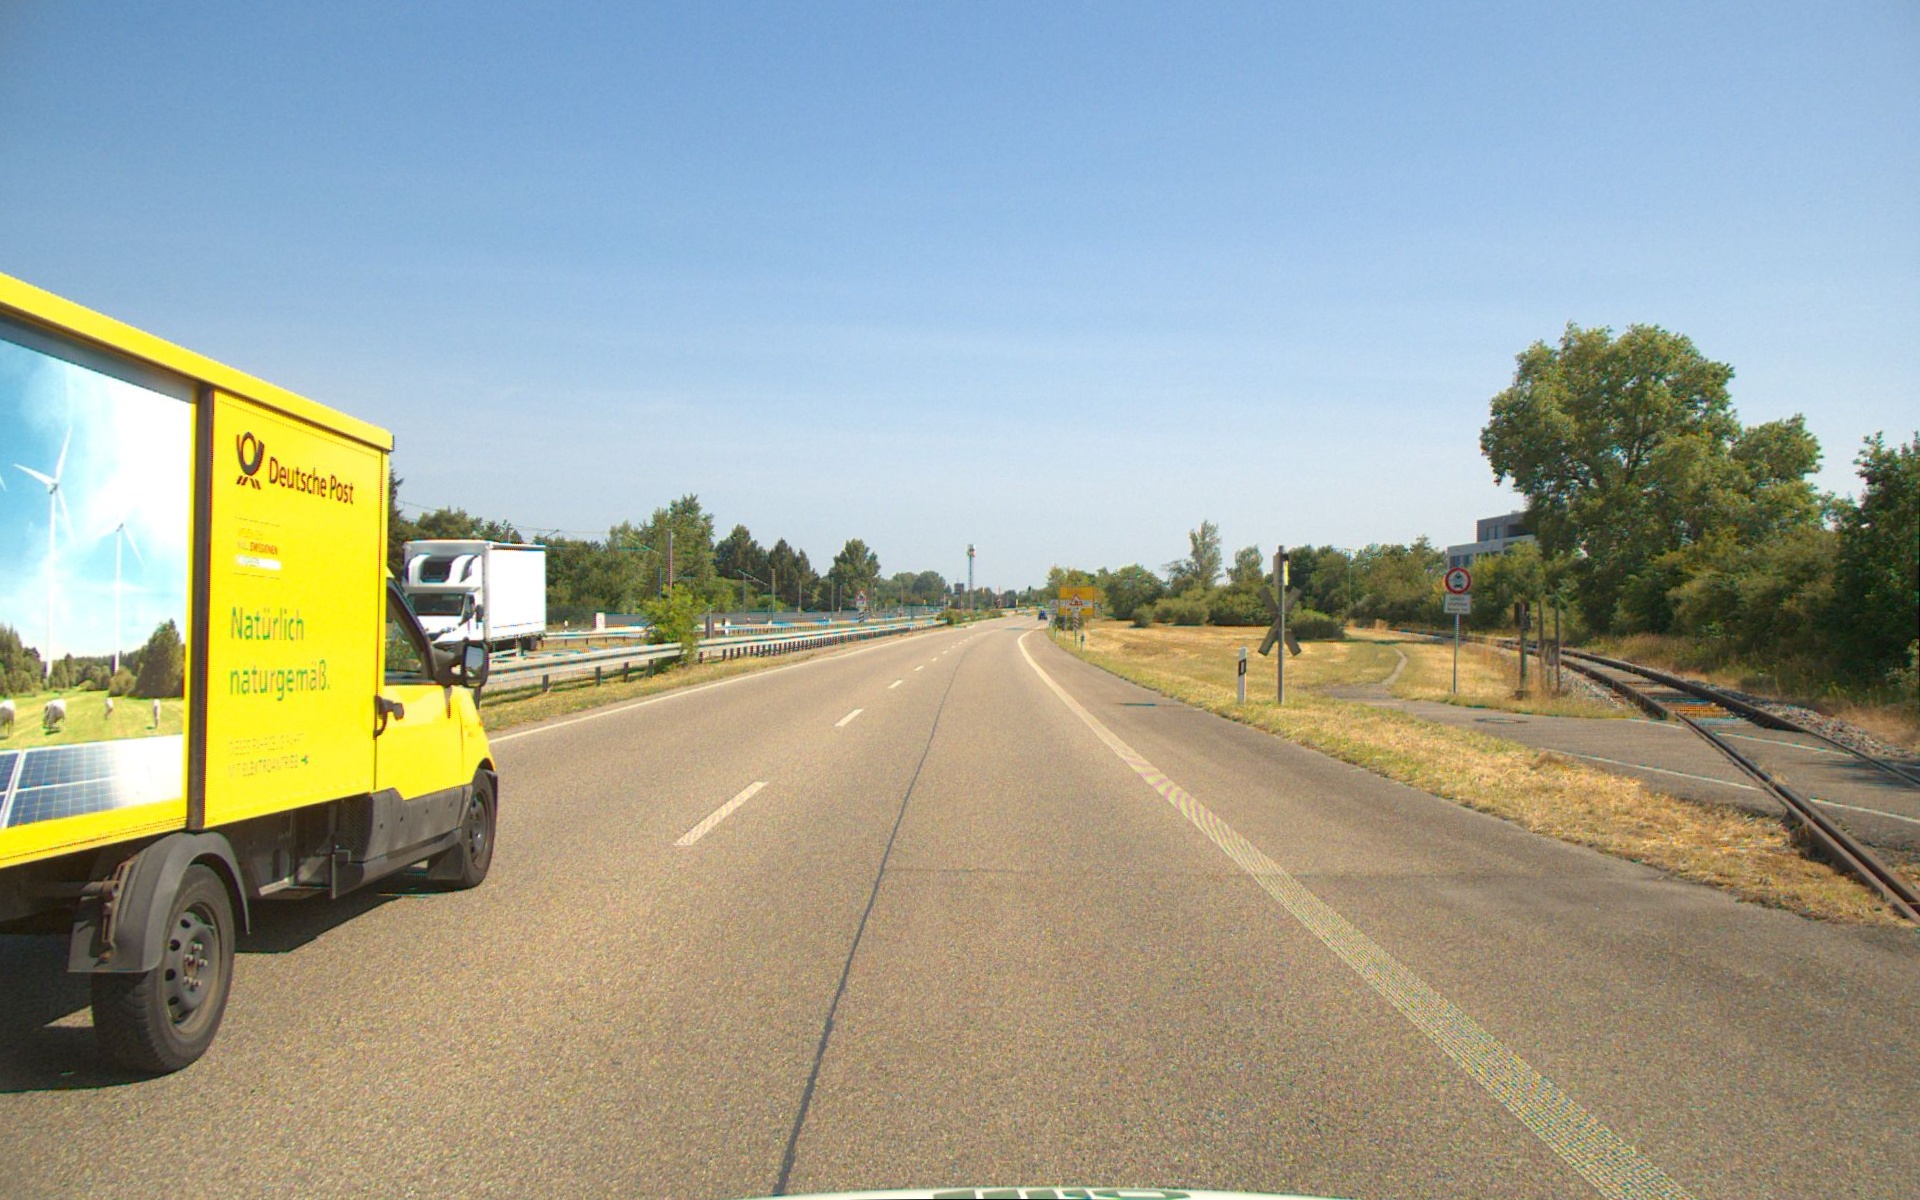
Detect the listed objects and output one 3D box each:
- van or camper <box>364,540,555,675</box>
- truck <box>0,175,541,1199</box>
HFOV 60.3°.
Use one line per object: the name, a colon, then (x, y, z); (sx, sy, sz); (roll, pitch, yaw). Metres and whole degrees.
van or camper: (-14.916, 0.225, 50.116); (2.816, 3.745, 8.646); (0, 0, 2)
truck: (-3.367, 0.268, 6.510); (2.069, 2.500, 5.915); (0, 0, -1)
